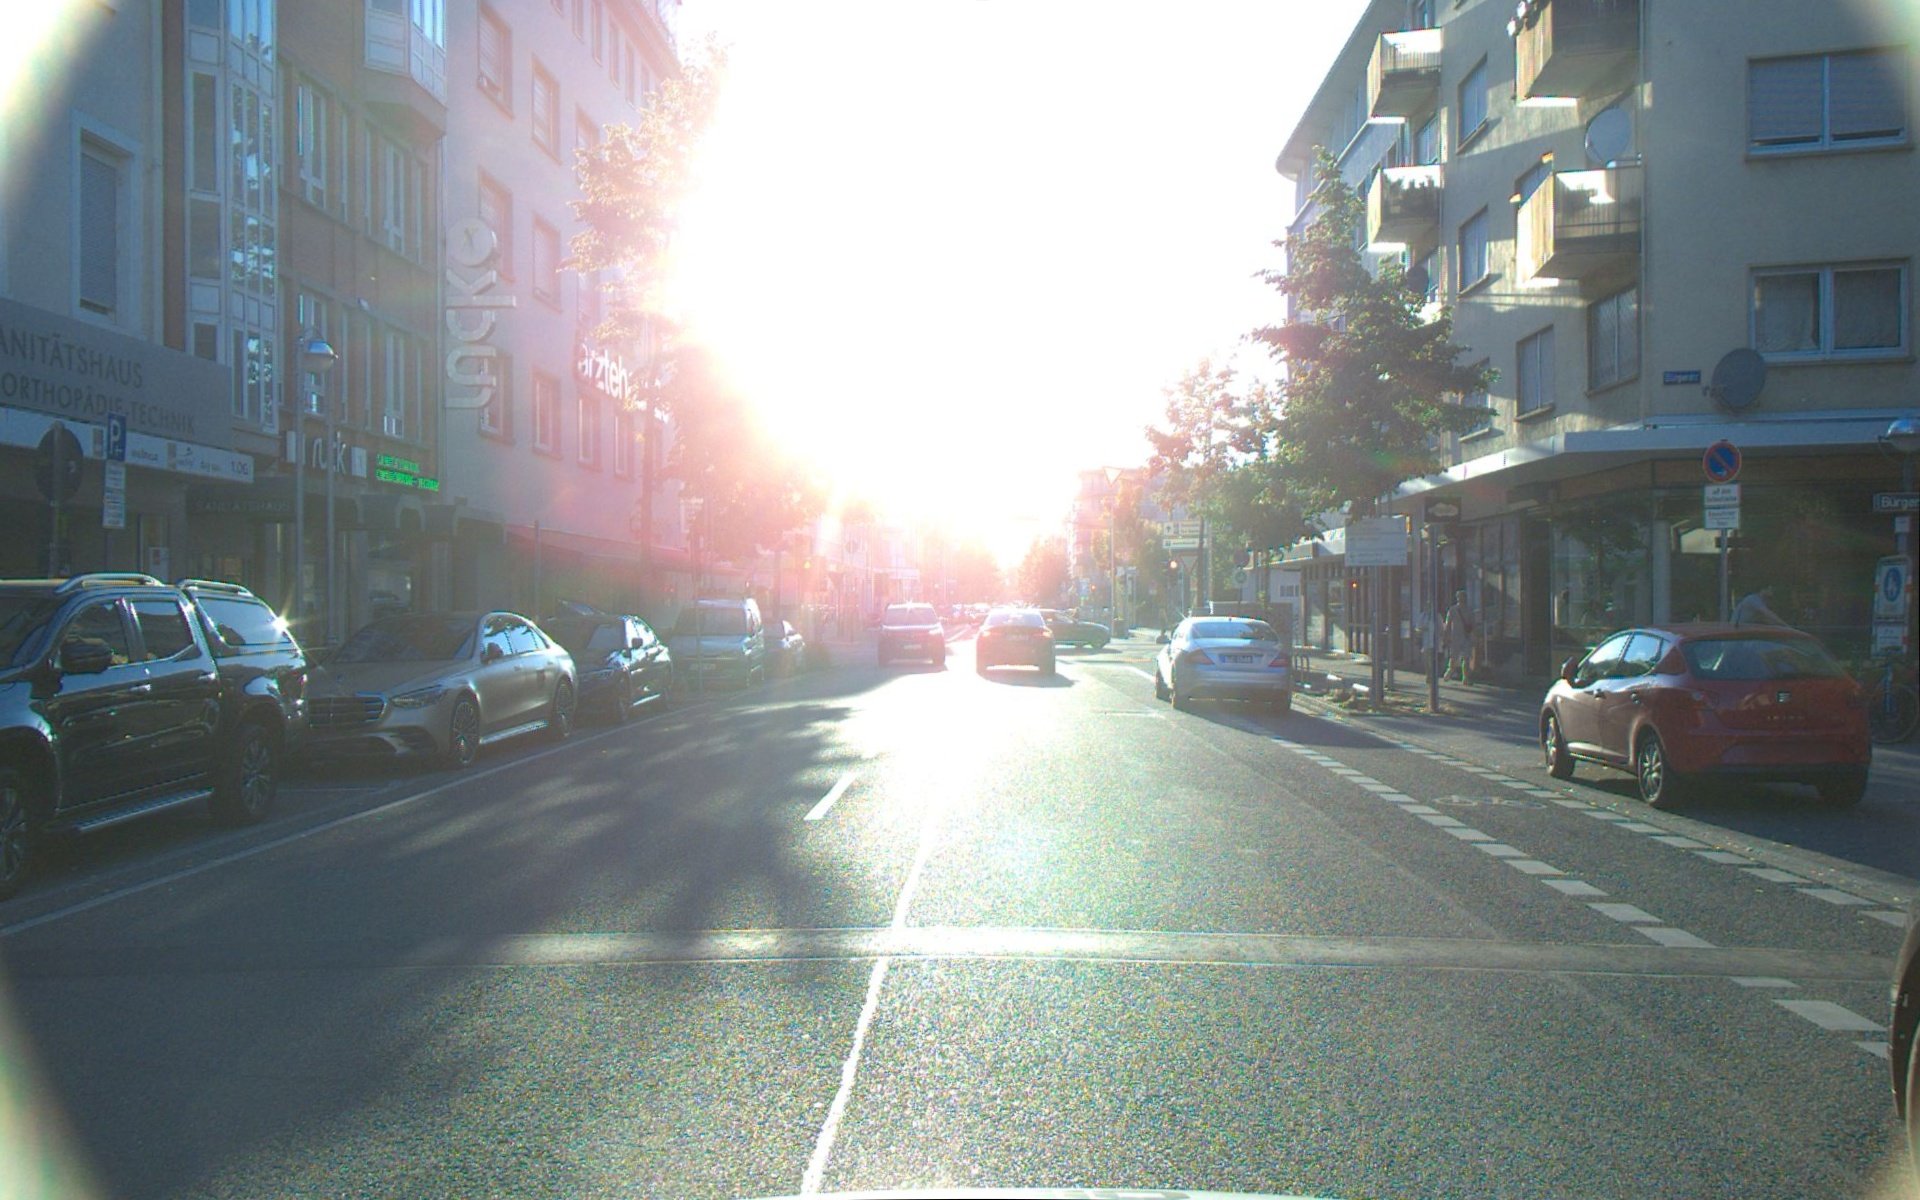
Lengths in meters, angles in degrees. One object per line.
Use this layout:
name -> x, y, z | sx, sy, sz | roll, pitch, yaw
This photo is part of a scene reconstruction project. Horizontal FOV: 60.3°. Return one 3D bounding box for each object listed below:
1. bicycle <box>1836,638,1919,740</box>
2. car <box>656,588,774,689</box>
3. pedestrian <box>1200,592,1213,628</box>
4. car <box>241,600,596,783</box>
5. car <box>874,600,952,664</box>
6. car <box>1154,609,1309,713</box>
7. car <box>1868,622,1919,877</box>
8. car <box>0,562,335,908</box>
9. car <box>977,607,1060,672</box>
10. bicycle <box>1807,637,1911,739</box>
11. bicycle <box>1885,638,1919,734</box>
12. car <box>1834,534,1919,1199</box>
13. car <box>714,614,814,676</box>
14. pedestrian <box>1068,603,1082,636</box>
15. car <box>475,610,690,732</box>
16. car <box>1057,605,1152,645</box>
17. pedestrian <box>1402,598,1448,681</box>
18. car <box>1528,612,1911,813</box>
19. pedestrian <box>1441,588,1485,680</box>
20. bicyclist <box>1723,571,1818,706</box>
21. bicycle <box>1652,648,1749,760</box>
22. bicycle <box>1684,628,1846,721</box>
bicycle -> 10.420, 0.973, 18.585 | 0.281, 1.057, 1.718 | 0, 0, 1
car -> -4.815, 0.726, 32.978 | 1.796, 1.887, 4.123 | 0, 0, -1
pedestrian -> 12.149, 0.506, 81.429 | 0.487, 1.745, 0.460 | 0, 1, -18
car -> -5.477, 0.835, 17.545 | 1.789, 1.583, 5.138 | -2, 0, 3
car -> -1.273, 0.855, 46.273 | 1.882, 1.630, 4.327 | 0, 1, 2
car -> 4.243, 0.908, 26.519 | 1.882, 1.440, 4.549 | 2, 0, 2
car -> 6.250, 0.850, 8.105 | 1.599, 1.449, 3.758 | -1, 0, 2
car -> -6.007, 0.744, 10.726 | 1.790, 1.842, 5.348 | -2, 0, 0
car -> 1.396, 0.890, 39.100 | 1.844, 1.440, 4.326 | 0, 0, 2
bicycle -> 10.140, 0.972, 18.708 | 0.281, 1.057, 1.718 | 0, 0, 1
bicycle -> 10.915, 0.970, 18.448 | 0.281, 1.057, 1.718 | 0, 0, 1
car -> 3.187, 0.709, 1.971 | 1.953, 1.684, 4.675 | 2, 0, 2
car -> -4.557, 1.014, 38.966 | 1.795, 1.351, 4.124 | 0, 0, 1
pedestrian -> 5.754, 0.971, 82.771 | 0.565, 1.673, 0.525 | 0, 1, -19
car -> -5.183, 0.920, 23.348 | 1.789, 1.464, 4.554 | -3, 0, 2
car -> 5.554, 0.928, 63.554 | 3.294, 1.451, 1.562 | 0, 1, -20
pedestrian -> 9.062, 0.757, 32.232 | 0.673, 1.586, 0.863 | 0, 0, 3
car -> 6.428, 0.868, 14.504 | 1.668, 1.461, 3.933 | -1, 0, 2
pedestrian -> 9.753, 0.651, 32.061 | 0.673, 1.752, 0.717 | -1, -1, 8
bicyclist -> 10.644, 0.492, 21.745 | 1.070, 1.732, 0.652 | -1, 0, 24
bicycle -> 7.714, 1.056, 17.293 | 0.286, 1.057, 1.718 | 0, 0, 1
bicycle -> 10.565, 0.967, 21.783 | 1.887, 1.175, 0.652 | -1, 0, 24
